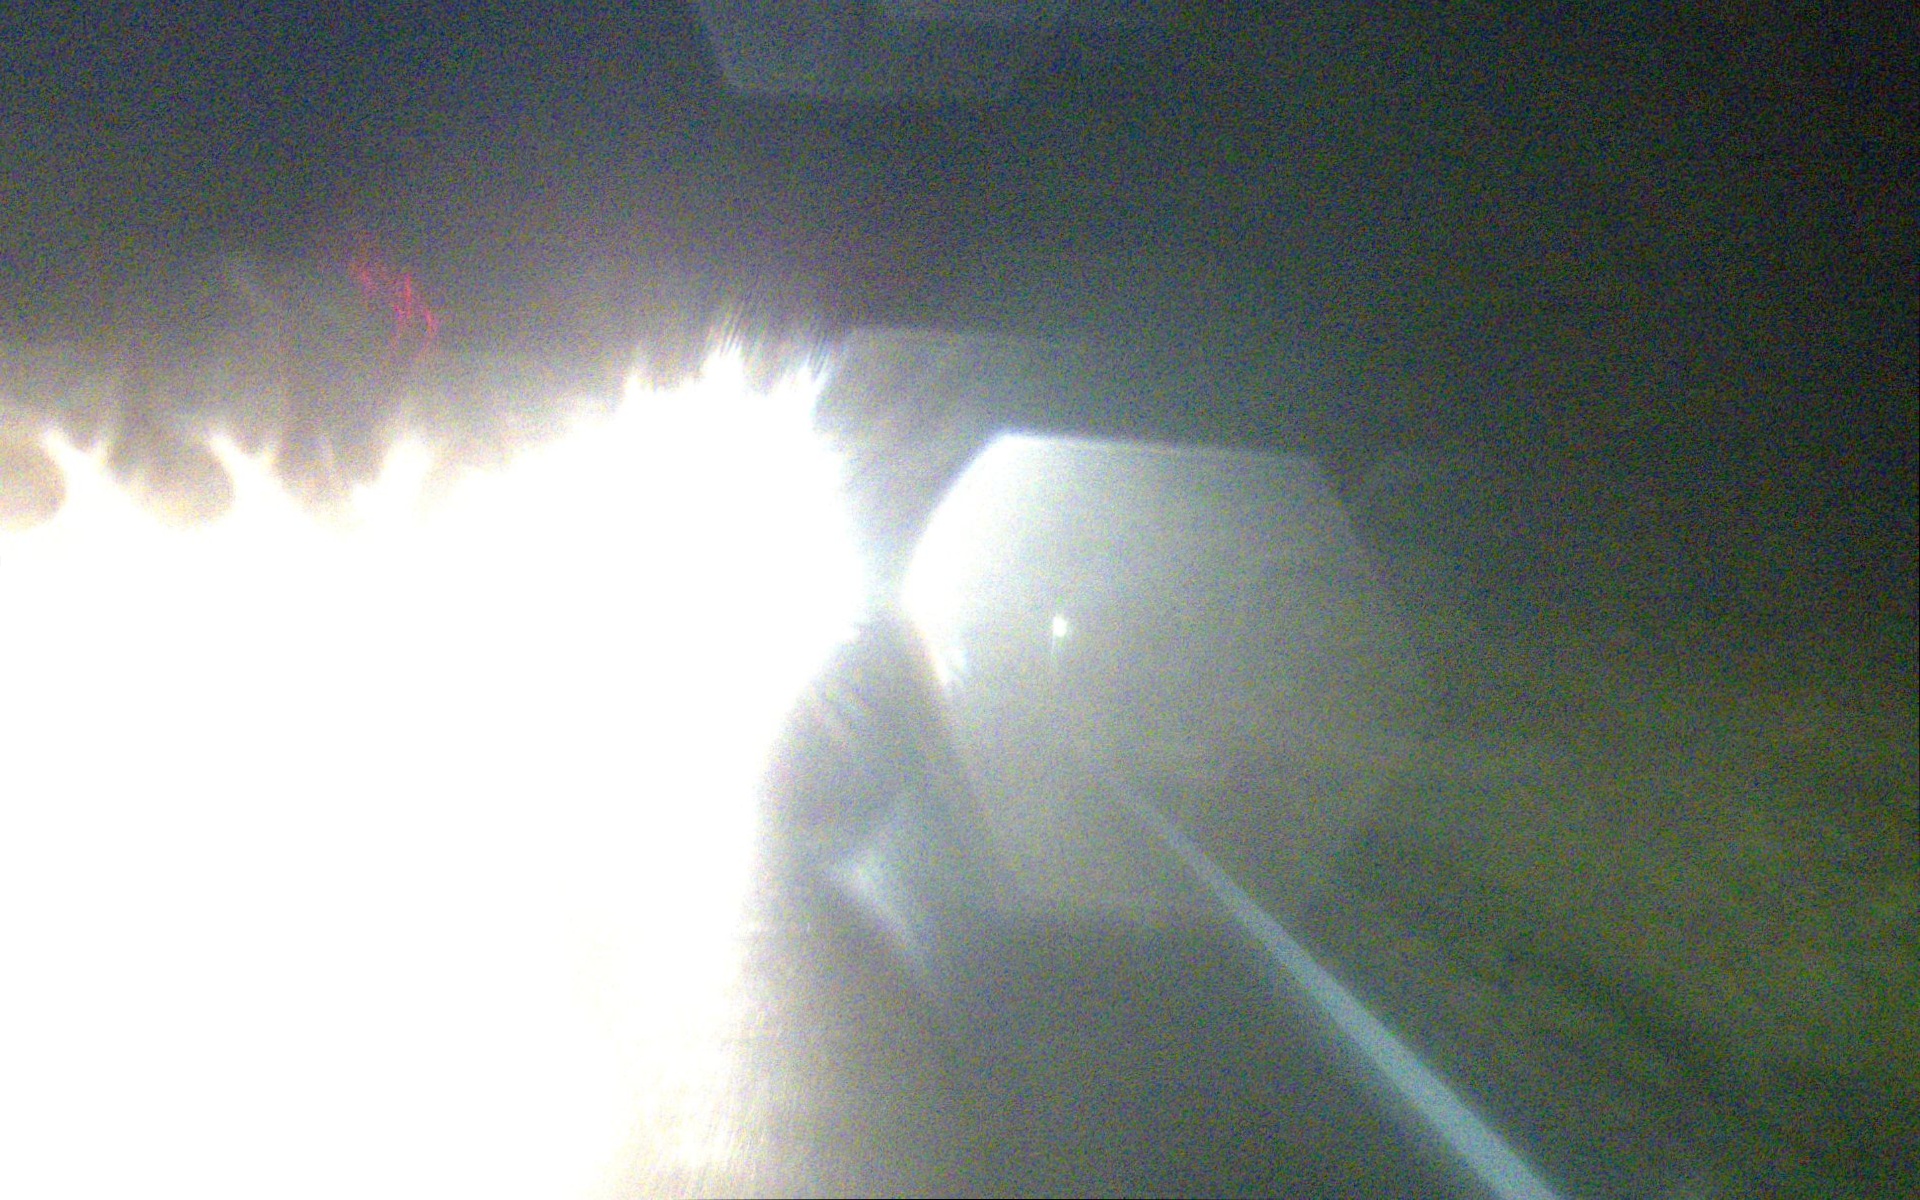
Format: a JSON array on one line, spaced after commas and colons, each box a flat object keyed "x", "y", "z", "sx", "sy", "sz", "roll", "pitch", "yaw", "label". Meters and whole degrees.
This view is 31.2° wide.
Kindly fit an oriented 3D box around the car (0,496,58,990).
[{"x": -4.076, "y": 0.501, "z": 10.121, "sx": 1.654, "sy": 1.677, "sz": 4.520, "roll": 1, "pitch": 1, "yaw": 0, "label": "car"}]

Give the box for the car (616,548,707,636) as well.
[{"x": -5.924, "y": -0.178, "z": 68.452, "sx": 1.483, "sy": 1.610, "sz": 3.561, "roll": 3, "pitch": 1, "yaw": -1, "label": "car"}]

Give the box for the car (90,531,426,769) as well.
[{"x": -4.821, "y": 0.294, "z": 24.069, "sx": 1.692, "sy": 1.514, "sz": 3.863, "roll": 1, "pitch": 1, "yaw": -2, "label": "car"}]
